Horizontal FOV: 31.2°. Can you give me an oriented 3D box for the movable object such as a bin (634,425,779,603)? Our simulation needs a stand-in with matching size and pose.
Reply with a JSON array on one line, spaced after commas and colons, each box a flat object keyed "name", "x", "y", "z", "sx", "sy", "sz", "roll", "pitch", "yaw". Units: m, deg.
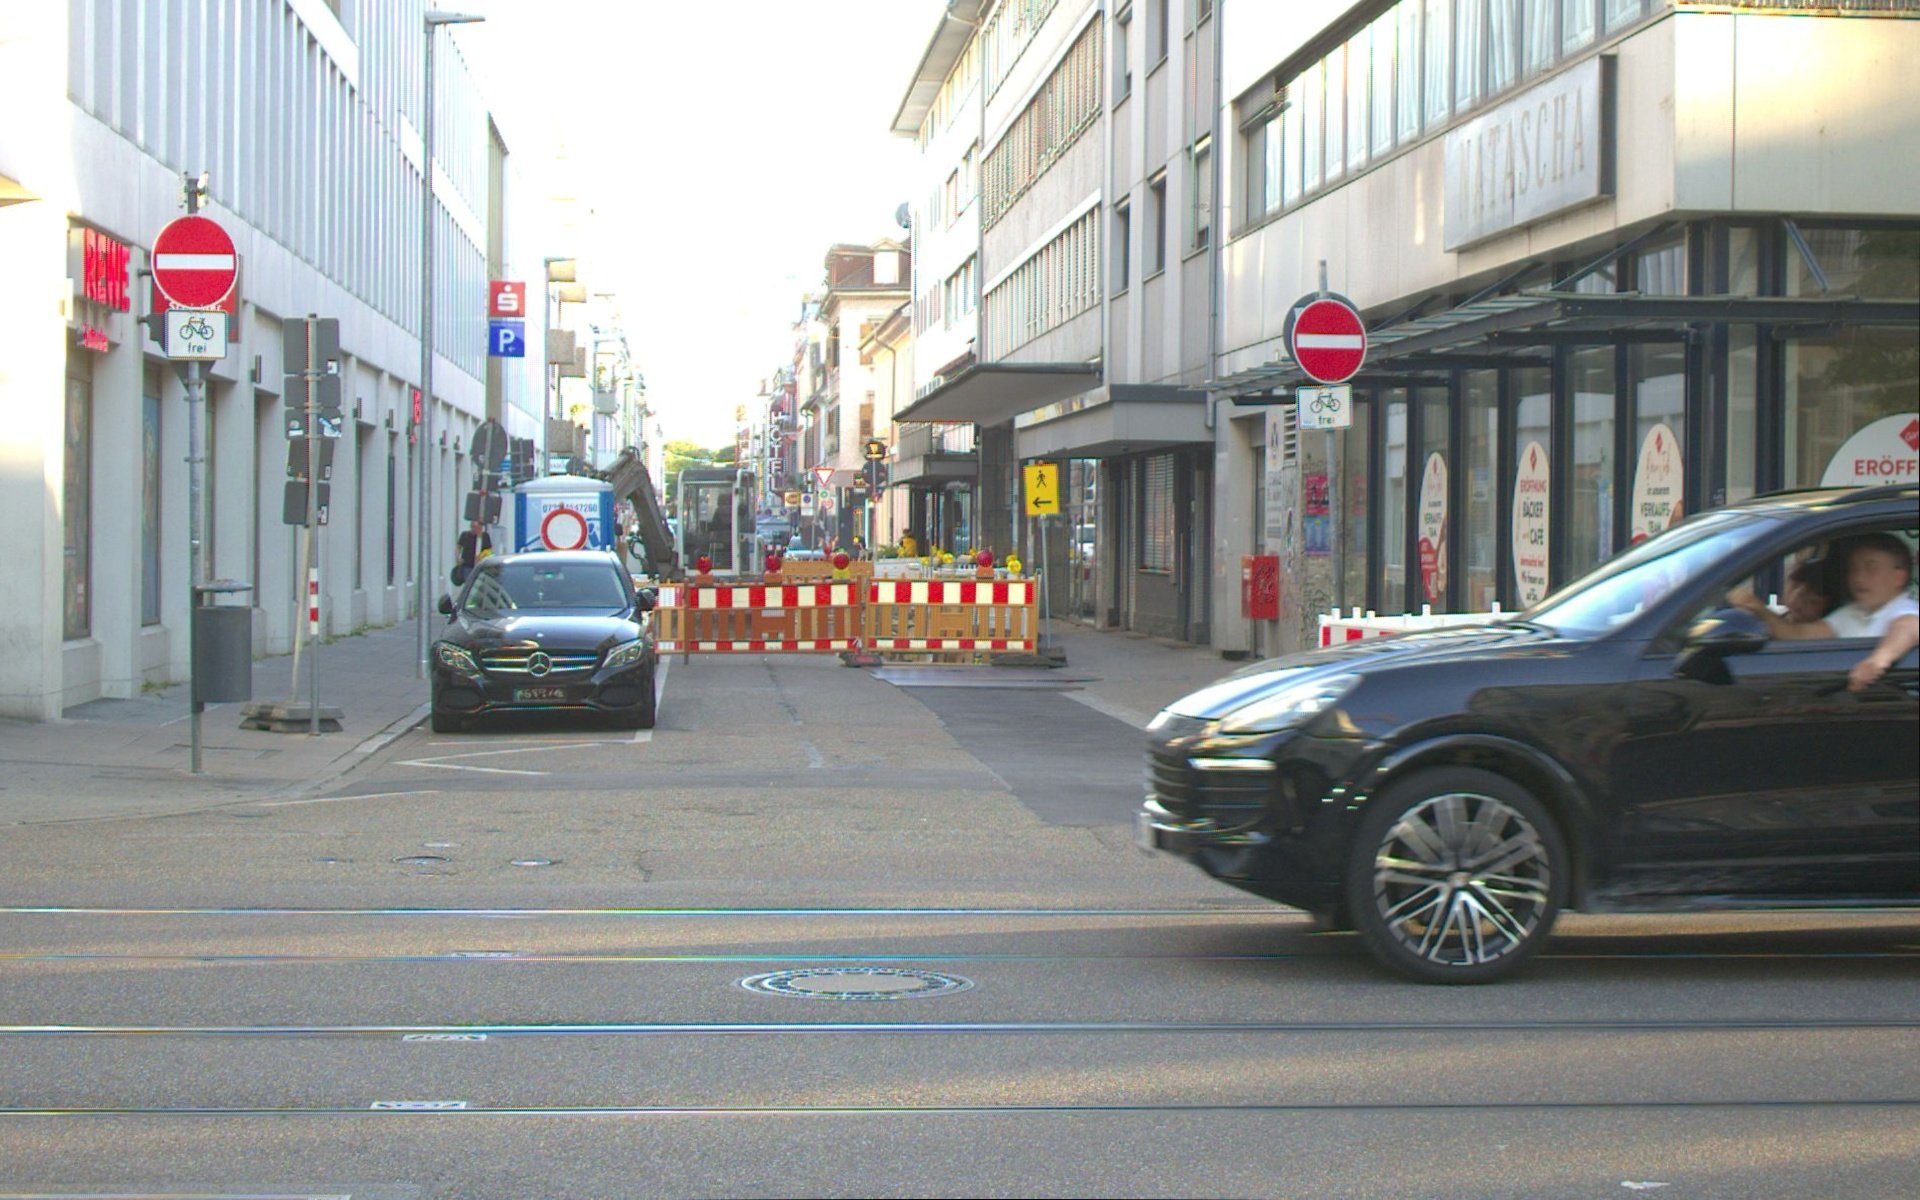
[{"name": "movable object such as a bin", "x": -3.975, "y": -1.336, "z": 53.771, "sx": 2.156, "sy": 2.654, "sz": 4.573, "roll": 0, "pitch": 1, "yaw": -4}]

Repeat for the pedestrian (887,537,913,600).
[{"name": "pedestrian", "x": -1.410, "y": -0.742, "z": 80.668, "sx": 0.524, "sy": 1.459, "sz": 0.718, "roll": 1, "pitch": 1, "yaw": 4}]

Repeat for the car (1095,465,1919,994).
[{"name": "car", "x": 3.067, "y": 0.433, "z": 12.422, "sx": 4.929, "sy": 1.720, "sz": 2.022, "roll": 1, "pitch": 1, "yaw": -4}]

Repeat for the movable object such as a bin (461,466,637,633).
[{"name": "movable object such as a bin", "x": -5.179, "y": -0.668, "z": 43.773, "sx": 1.993, "sy": 2.007, "sz": 4.001, "roll": -1, "pitch": 1, "yaw": -4}]

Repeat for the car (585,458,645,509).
[{"name": "car", "x": -12.311, "y": -4.154, "z": 122.932, "sx": 1.993, "sy": 1.770, "sz": 4.001, "roll": -1, "pitch": 1, "yaw": -4}]

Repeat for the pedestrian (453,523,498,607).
[{"name": "pedestrian", "x": -8.490, "y": -0.624, "z": 60.282, "sx": 0.716, "sy": 1.459, "sz": 0.525, "roll": -1, "pitch": 1, "yaw": -2}]

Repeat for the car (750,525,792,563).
[{"name": "car", "x": -9.229, "y": -2.744, "z": 167.763, "sx": 1.993, "sy": 1.770, "sz": 4.001, "roll": -1, "pitch": 1, "yaw": -4}]

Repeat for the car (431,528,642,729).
[{"name": "car", "x": -3.524, "y": 0.186, "z": 28.516, "sx": 1.629, "sy": 1.545, "sz": 3.143, "roll": -1, "pitch": 2, "yaw": -7}]
